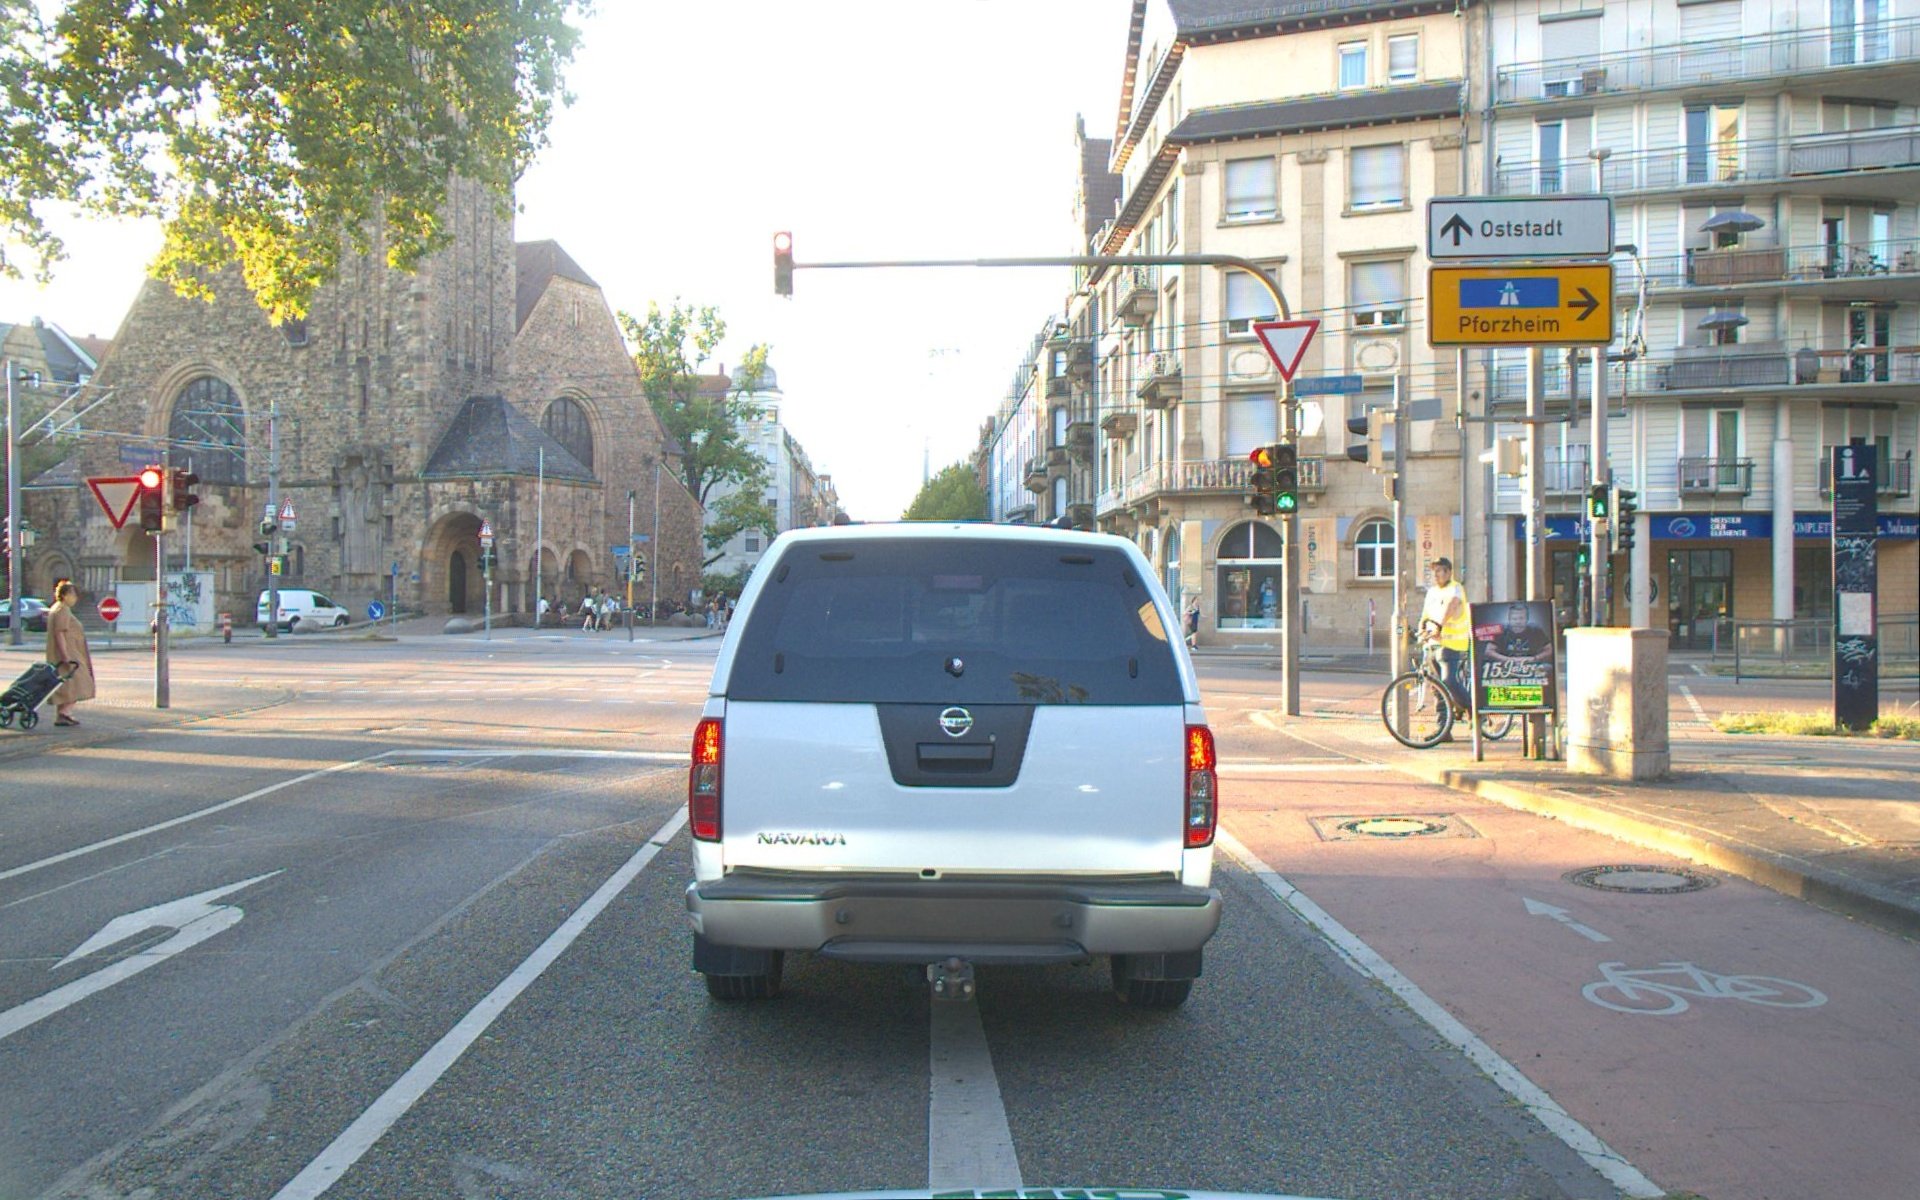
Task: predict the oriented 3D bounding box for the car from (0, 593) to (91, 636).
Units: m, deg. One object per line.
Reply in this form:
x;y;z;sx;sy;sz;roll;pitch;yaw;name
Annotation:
-36.535;0.582;65.250;3.906;1.646;1.999;-1;-2;23;car

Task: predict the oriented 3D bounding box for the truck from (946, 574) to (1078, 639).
2.222;0.275;68.823;5.630;2.610;2.250;1;-1;-45;truck

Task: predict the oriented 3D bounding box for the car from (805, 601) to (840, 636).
-8.506;1.116;102.616;1.953;2.049;4.948;0;1;-2;car

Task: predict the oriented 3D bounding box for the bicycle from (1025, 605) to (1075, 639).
3.384;0.835;62.277;1.781;1.170;0.636;-3;-1;-3;bicycle

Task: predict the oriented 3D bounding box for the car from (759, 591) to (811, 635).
-7.674;0.536;72.791;1.953;1.815;4.796;0;1;-2;car

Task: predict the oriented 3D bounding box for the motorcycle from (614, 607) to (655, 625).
-18.400;0.914;93.428;2.201;1.005;0.707;1;-1;-7;motorcycle

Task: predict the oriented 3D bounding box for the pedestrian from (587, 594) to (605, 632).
-16.468;0.586;74.878;0.620;1.728;0.603;1;-1;7;pedestrian

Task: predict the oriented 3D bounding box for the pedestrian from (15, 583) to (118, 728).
-10.455;0.638;19.372;0.786;1.656;0.773;1;-1;-6;pedestrian

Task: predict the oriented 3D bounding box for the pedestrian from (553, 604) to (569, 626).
-18.251;0.698;75.577;0.469;0.977;0.522;0;-1;29;pedestrian

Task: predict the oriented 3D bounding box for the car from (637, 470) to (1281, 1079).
-0.024;0.561;7.101;1.953;1.841;3.999;1;-1;-1;car

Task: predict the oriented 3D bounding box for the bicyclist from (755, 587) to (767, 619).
-10.719;0.168;89.006;0.587;1.673;0.962;1;-1;-5;bicyclist

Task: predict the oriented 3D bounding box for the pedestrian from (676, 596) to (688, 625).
-16.725;0.614;99.561;0.630;1.725;0.561;1;-1;-2;pedestrian

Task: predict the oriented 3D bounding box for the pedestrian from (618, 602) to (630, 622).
-16.289;0.580;80.116;0.513;0.977;0.477;1;-1;-17;pedestrian

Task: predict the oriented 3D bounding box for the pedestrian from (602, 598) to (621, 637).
-15.756;0.803;74.710;0.620;1.728;0.603;1;-1;10;pedestrian

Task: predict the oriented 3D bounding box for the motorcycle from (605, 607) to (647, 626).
-18.462;0.891;91.400;2.201;1.005;0.707;1;-1;-7;motorcycle

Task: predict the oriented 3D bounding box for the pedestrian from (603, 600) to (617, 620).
-16.951;0.487;80.139;0.510;0.977;0.479;1;-1;16;pedestrian

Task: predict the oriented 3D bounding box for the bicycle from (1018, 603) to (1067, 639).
3.199;0.809;63.925;1.781;1.259;0.477;-3;-1;-3;bicycle

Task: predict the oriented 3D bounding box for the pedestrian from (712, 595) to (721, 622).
-15.654;0.538;106.421;0.549;1.725;0.643;1;-1;-9;pedestrian

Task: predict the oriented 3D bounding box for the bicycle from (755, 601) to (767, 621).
-10.701;0.607;88.995;0.587;1.062;1.943;1;-1;-5;bicycle

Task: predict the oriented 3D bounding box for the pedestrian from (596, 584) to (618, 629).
-15.214;0.294;71.386;0.796;1.934;0.666;1;-1;-3;pedestrian

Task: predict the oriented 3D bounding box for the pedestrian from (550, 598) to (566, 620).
-18.106;0.407;74.412;0.511;0.977;0.479;1;-1;18;pedestrian

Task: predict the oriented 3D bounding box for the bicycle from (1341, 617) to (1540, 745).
4.523;0.741;15.511;2.046;1.129;0.621;1;-1;-34;bicycle

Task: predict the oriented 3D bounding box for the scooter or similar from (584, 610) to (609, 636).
-16.204;1.021;73.769;0.620;1.123;1.079;1;-2;13;scooter or similar

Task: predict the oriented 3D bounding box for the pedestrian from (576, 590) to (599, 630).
-16.098;0.422;71.406;0.796;1.699;0.859;1;-1;-3;pedestrian

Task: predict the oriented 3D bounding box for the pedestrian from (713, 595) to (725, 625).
-15.396;0.619;105.585;0.632;1.888;0.559;1;-1;-15;pedestrian

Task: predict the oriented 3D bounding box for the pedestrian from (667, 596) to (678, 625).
-16.915;0.629;97.319;0.631;1.725;0.560;1;-1;-10;pedestrian

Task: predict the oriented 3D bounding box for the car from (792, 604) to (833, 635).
-7.779;1.073;87.739;1.954;1.585;4.765;-1;-1;-3;car

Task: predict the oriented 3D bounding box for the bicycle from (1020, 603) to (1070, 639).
3.248;0.798;63.215;1.781;1.259;0.487;-3;-1;-3;bicycle

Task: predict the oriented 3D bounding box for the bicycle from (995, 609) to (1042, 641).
2.207;0.949;62.721;1.692;1.102;0.317;-3;-1;-3;bicycle

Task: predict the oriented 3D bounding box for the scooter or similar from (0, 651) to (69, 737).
-10.451;1.045;18.519;0.580;0.913;0.849;1;-1;-11;scooter or similar

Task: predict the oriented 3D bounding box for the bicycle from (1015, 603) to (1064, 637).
3.156;0.796;65.787;1.818;1.259;0.530;-3;-1;-3;bicycle

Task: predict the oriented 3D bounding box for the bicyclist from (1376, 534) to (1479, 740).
4.354;0.341;15.404;0.690;1.856;0.621;1;-1;-33;bicyclist

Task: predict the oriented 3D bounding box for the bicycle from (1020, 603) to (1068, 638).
3.286;0.784;64.653;1.781;1.259;0.412;-3;-1;-3;bicycle

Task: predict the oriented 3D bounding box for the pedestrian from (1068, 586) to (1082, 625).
5.082;0.247;73.084;0.517;1.683;0.547;1;-1;-1;pedestrian

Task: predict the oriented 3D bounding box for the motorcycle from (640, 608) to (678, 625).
-17.431;0.954;95.732;2.119;1.005;0.594;1;-1;19;motorcycle

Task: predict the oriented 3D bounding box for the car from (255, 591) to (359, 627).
-29.212;0.440;74.100;1.679;1.543;4.454;1;-1;23;car

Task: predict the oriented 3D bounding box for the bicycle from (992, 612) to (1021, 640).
1.778;0.997;63.597;1.055;1.042;0.317;-3;-1;-3;bicycle

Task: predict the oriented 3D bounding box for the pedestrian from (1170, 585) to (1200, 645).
6.885;0.466;50.512;0.771;1.810;0.543;0;-1;24;pedestrian

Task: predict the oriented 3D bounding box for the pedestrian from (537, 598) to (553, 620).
-18.721;0.400;74.677;0.511;0.977;0.479;1;-1;18;pedestrian
